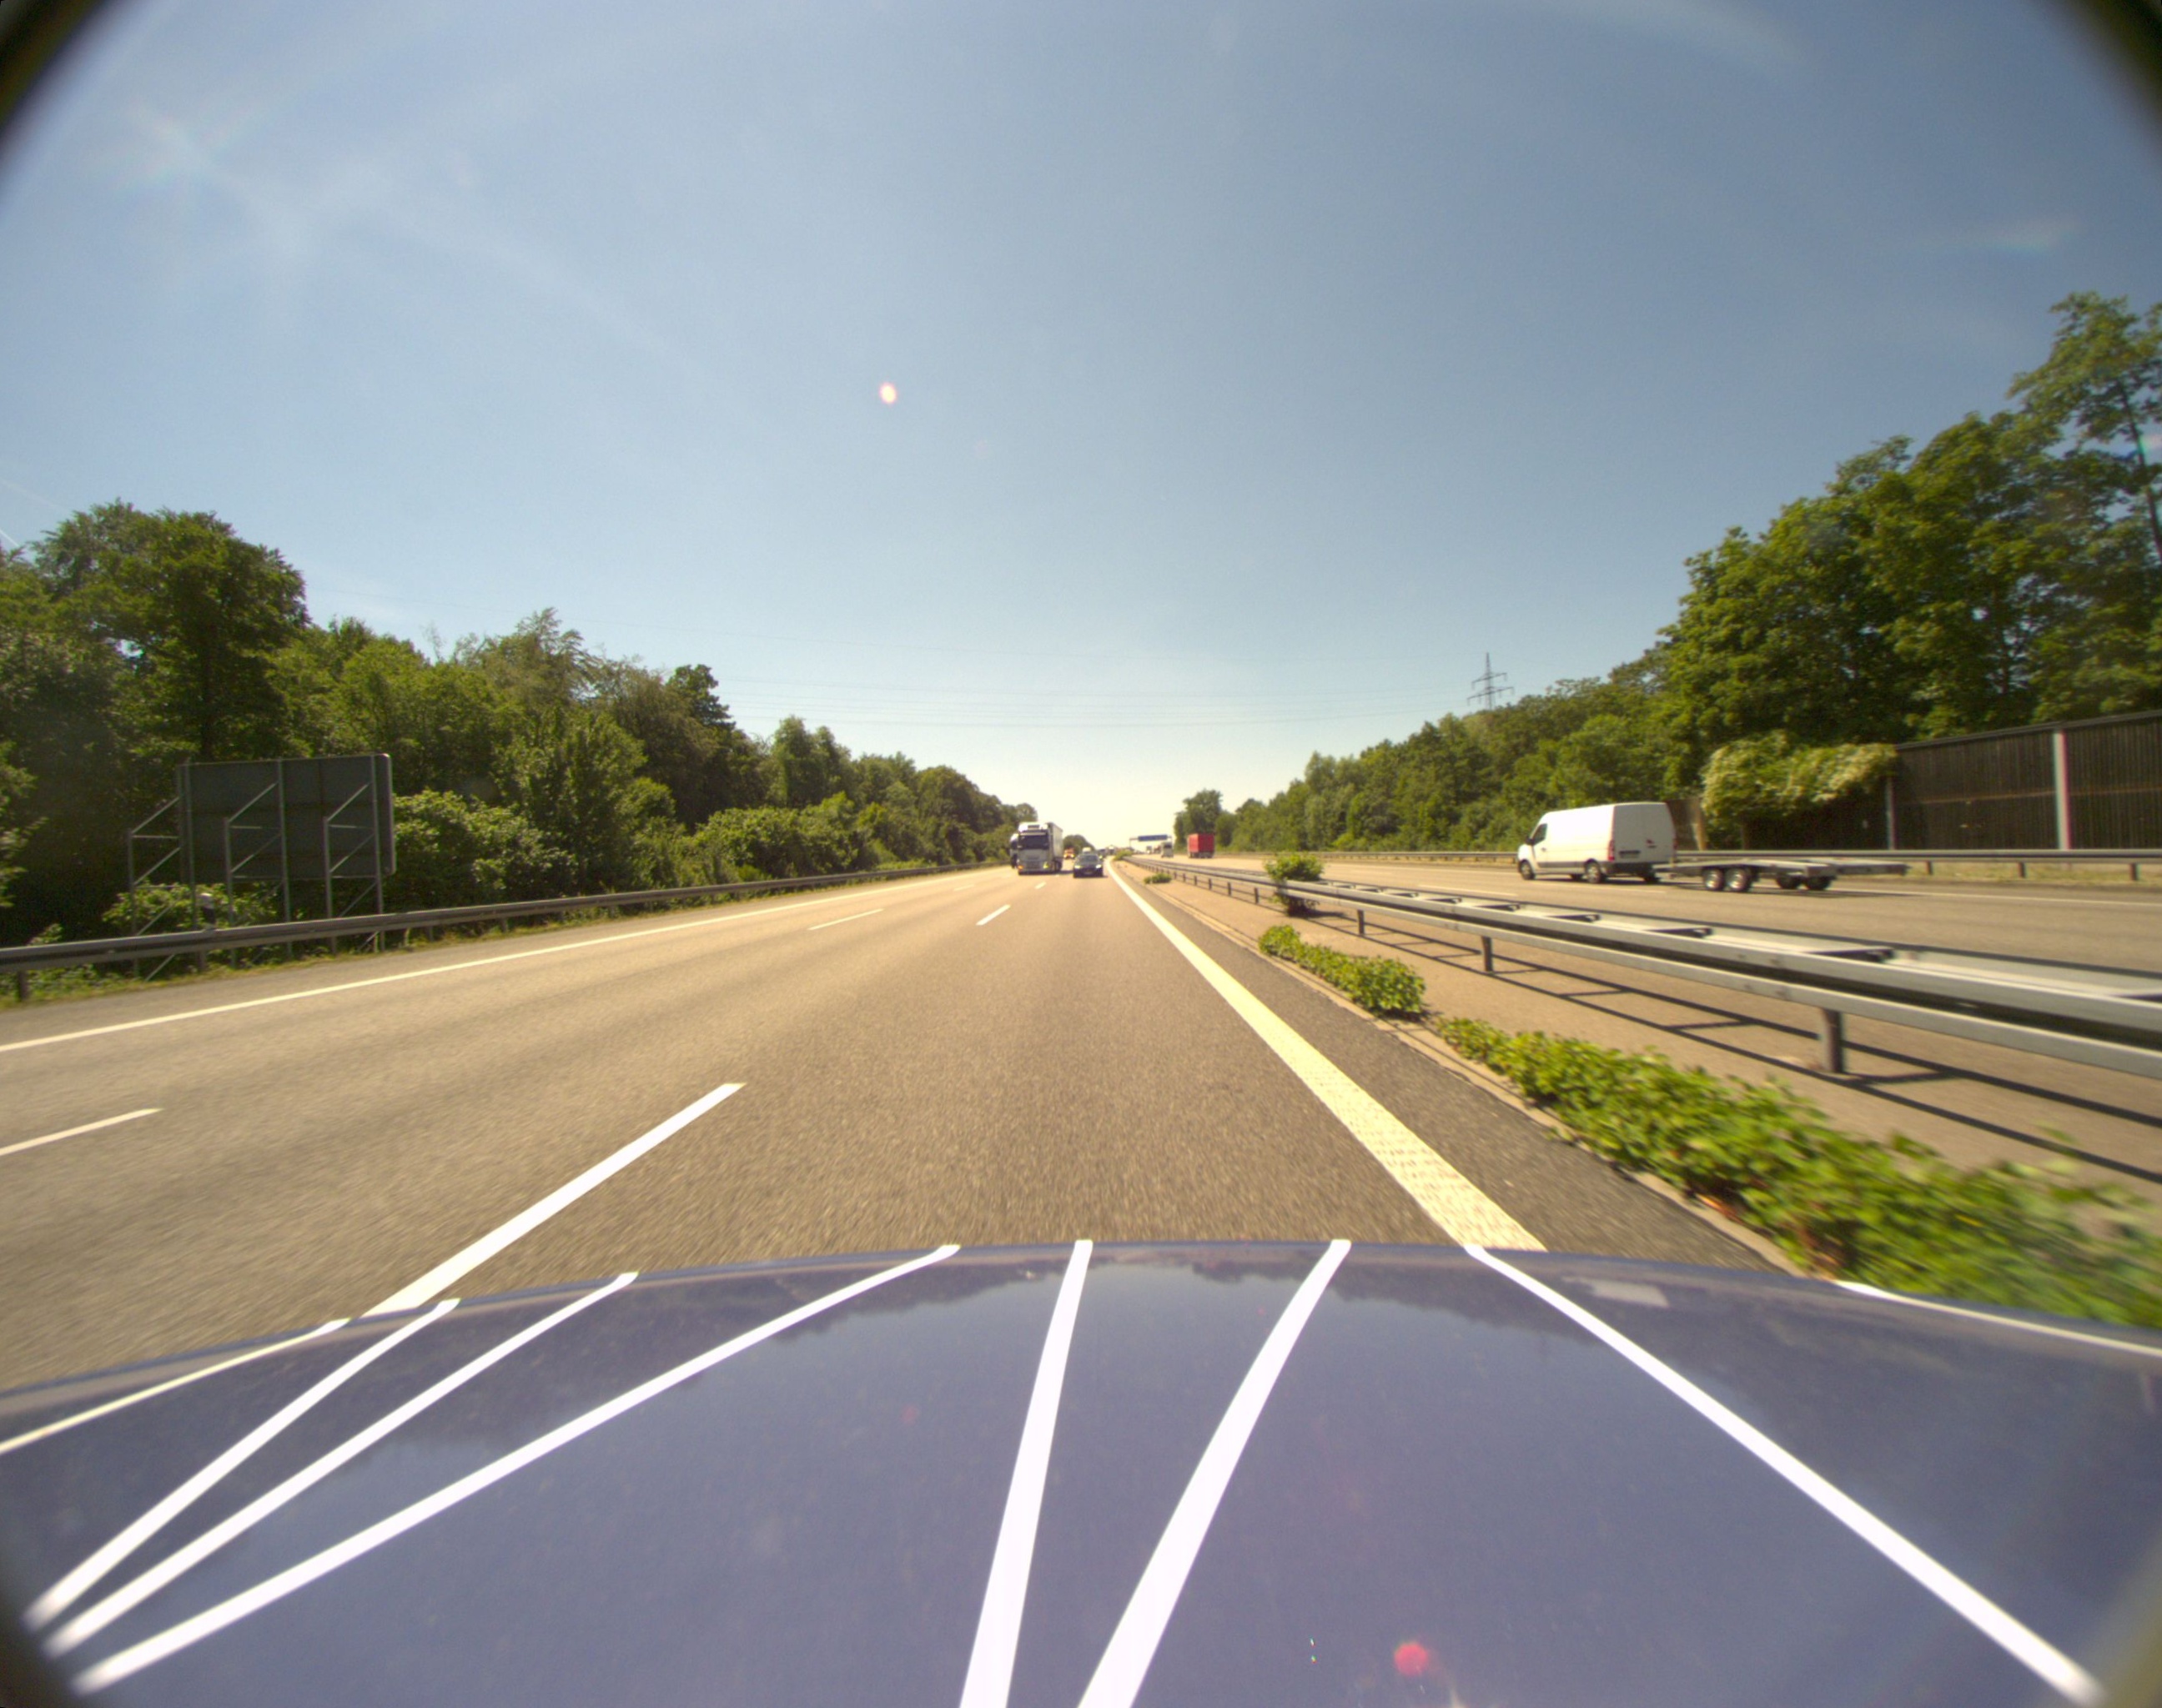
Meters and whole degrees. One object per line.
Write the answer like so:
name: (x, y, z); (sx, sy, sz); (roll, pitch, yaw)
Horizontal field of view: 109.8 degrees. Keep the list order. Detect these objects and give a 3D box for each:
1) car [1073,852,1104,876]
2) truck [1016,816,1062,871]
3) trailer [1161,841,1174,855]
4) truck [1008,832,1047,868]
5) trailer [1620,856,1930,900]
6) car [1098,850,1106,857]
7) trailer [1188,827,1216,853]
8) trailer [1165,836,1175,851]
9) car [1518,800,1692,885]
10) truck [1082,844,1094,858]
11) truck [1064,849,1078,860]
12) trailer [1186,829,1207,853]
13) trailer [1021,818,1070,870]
car: (0.523, 0.630, 48.719); (1.800, 1.390, 4.833); (-2, 0, 2)
truck: (-3.201, -0.759, 59.066); (2.729, 3.952, 6.502); (-2, 0, 3)
trailer: (17.392, -1.244, 152.605); (2.091, 2.598, 4.955); (-2, 0, 0)
truck: (-6.416, -0.546, 93.064); (3.049, 3.947, 14.454); (-2, 1, 2)
trailer: (16.921, 0.526, 19.223); (2.167, 0.802, 6.281); (-2, 0, 1)
car: (5.195, -0.044, 186.245); (1.879, 1.630, 4.000); (-2, 0, 0)
trailer: (20.196, -2.192, 127.523); (2.690, 4.044, 14.051); (-2, 0, 2)
trailer: (25.964, -3.013, 221.559); (2.676, 3.943, 13.668); (-2, 0, 6)
car: (16.986, -0.353, 25.094); (2.029, 2.417, 5.412); (-2, 0, 1)
truck: (1.748, -0.664, 187.873); (2.859, 3.163, 10.712); (-2, 0, 1)
truck: (-2.385, 0.015, 181.528); (2.436, 2.426, 10.012); (-2, 0, 4)
trailer: (20.411, -2.198, 134.364); (2.695, 4.018, 6.037); (-2, 0, 1)
trailer: (-2.838, -0.806, 65.636); (2.746, 3.952, 13.656); (-2, 0, 3)
